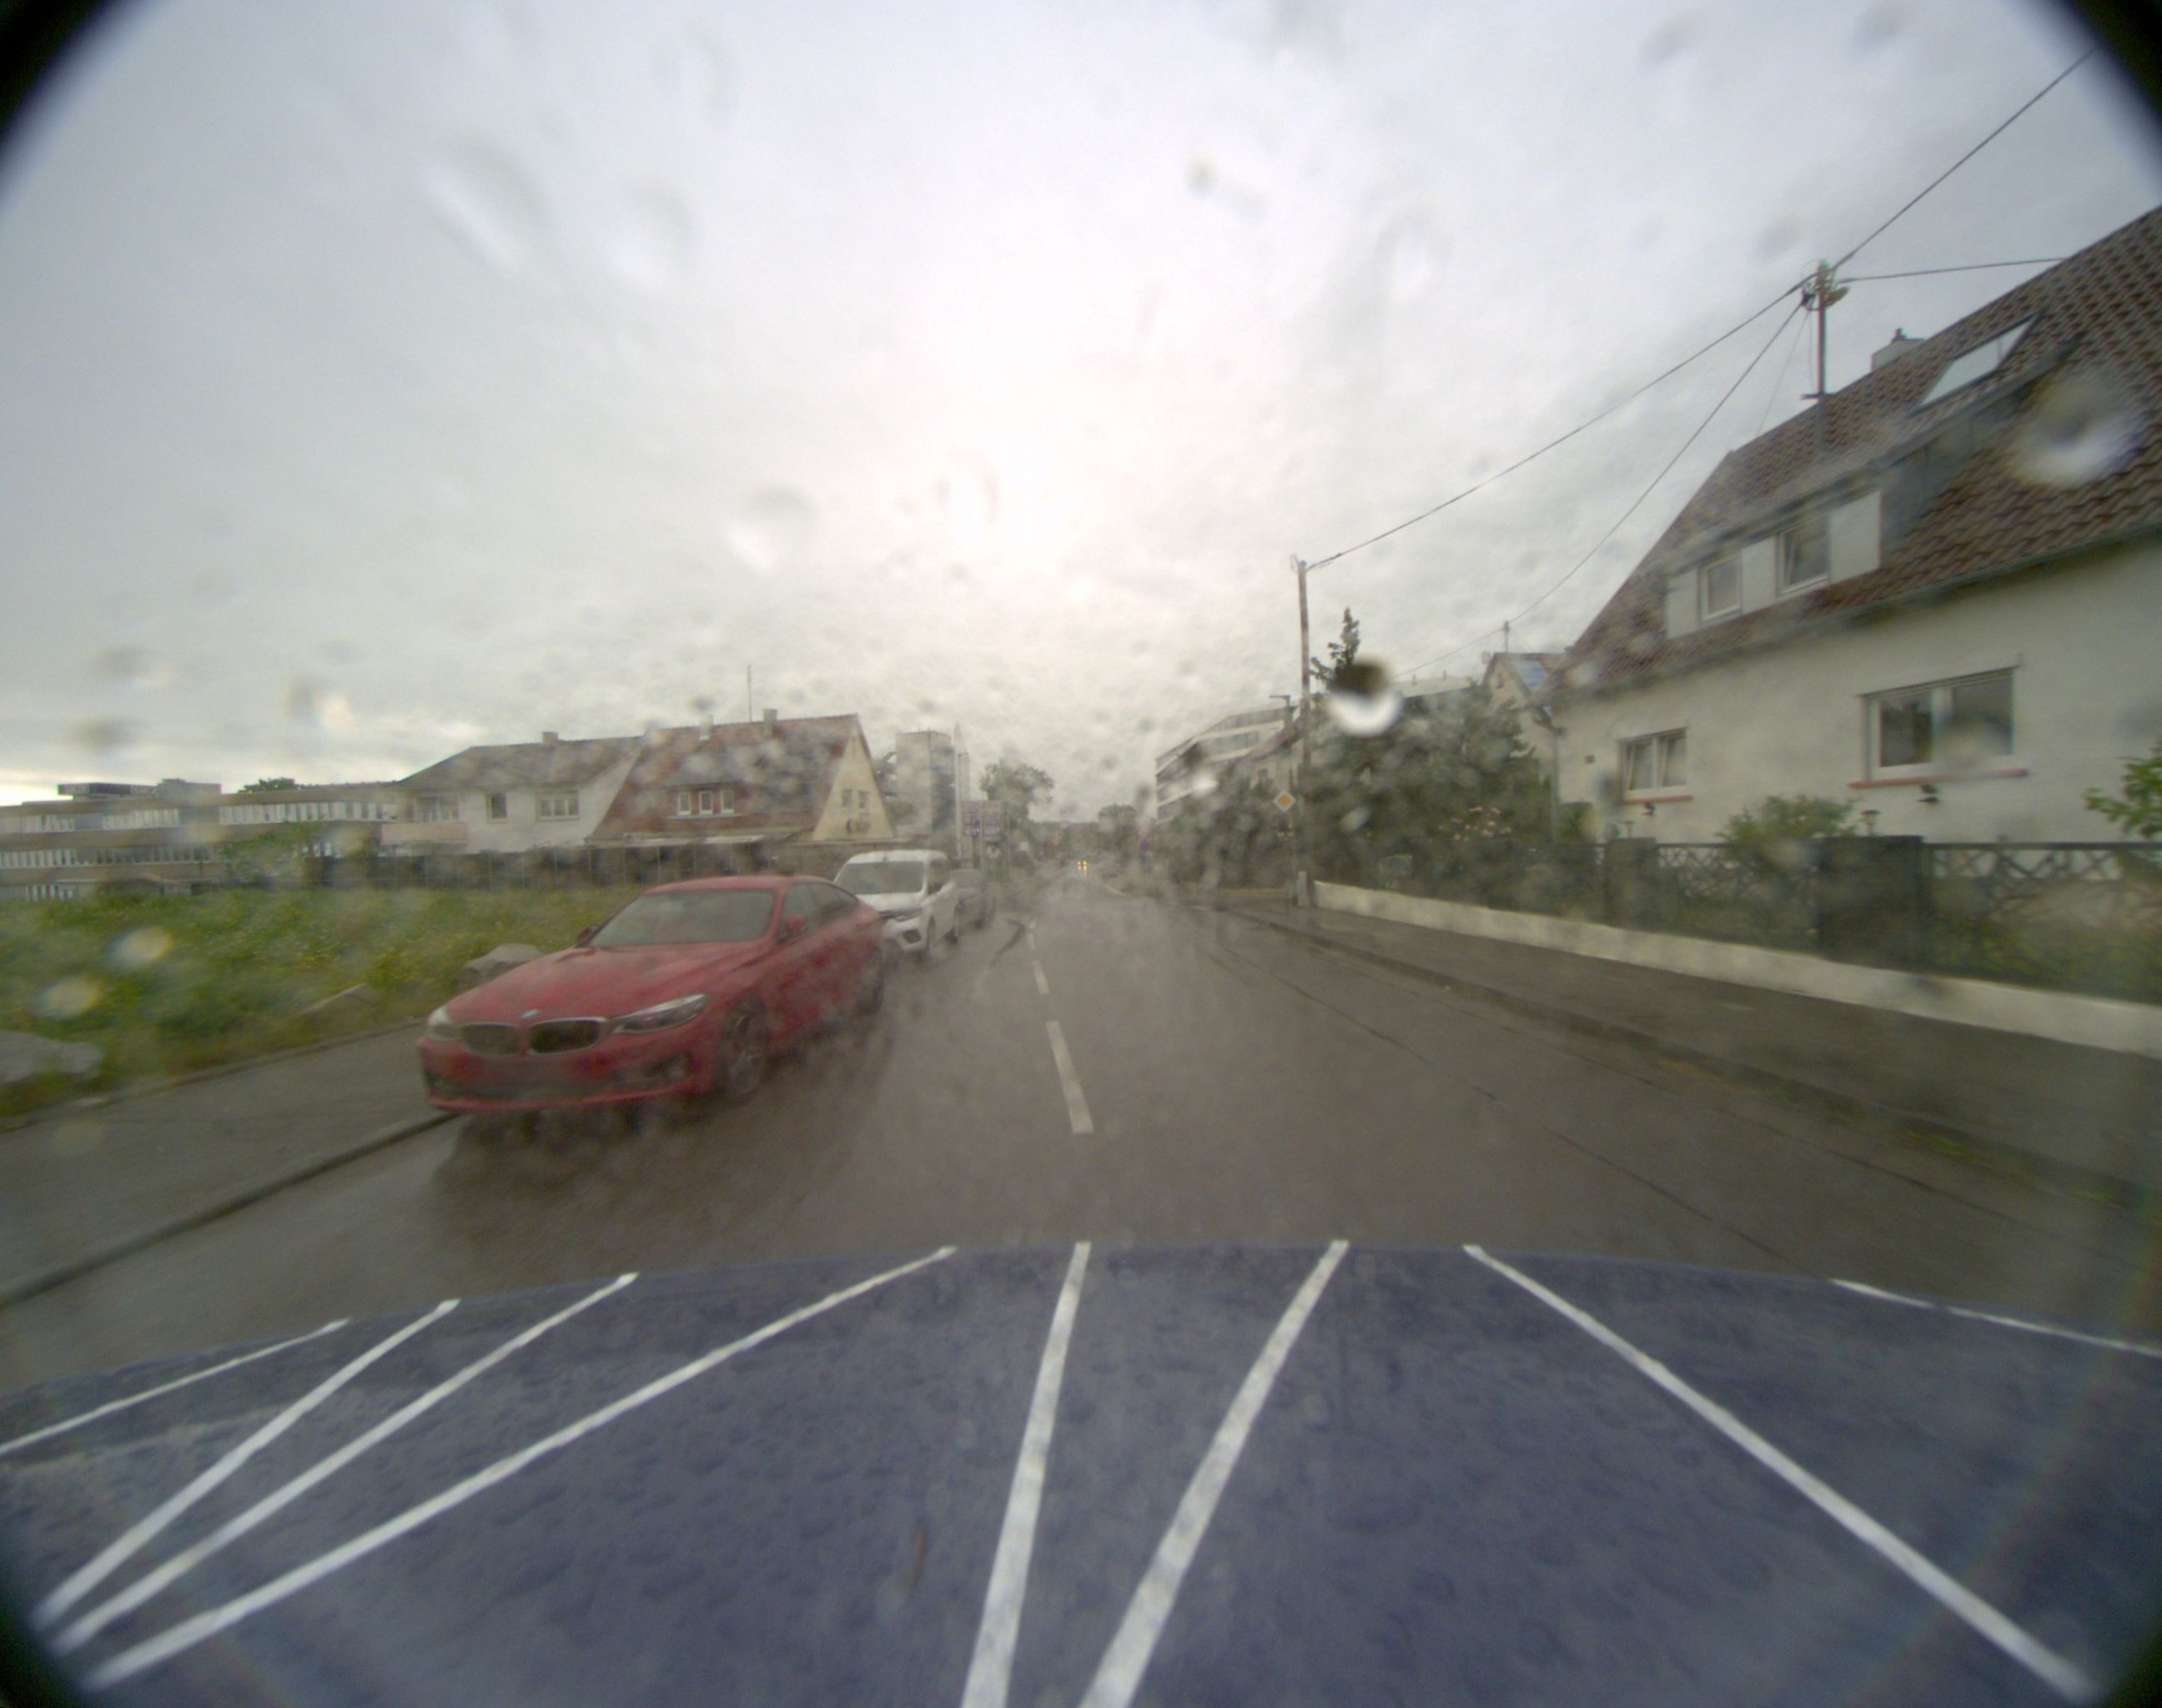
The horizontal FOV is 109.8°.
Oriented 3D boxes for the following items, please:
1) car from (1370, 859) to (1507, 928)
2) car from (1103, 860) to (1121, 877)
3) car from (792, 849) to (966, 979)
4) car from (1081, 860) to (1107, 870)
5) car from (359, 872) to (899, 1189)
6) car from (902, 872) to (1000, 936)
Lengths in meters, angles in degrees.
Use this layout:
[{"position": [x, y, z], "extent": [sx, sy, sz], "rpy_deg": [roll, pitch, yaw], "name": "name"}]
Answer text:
[{"position": [8.809, 0.903, 19.045], "extent": [1.783, 1.458, 3.456], "rpy_deg": [-2, 1, 0], "name": "car"}, {"position": [3.458, 1.608, 85.066], "extent": [1.841, 1.696, 4.324], "rpy_deg": [-2, 0, 2], "name": "car"}, {"position": [-3.265, 0.876, 13.254], "extent": [1.773, 1.814, 4.574], "rpy_deg": [-2, 0, -1], "name": "car"}, {"position": [2.224, 1.873, 130.786], "extent": [4.166, 1.411, 2.001], "rpy_deg": [-3, 0, 5], "name": "car"}, {"position": [-3.006, 1.016, 6.434], "extent": [1.646, 1.565, 4.644], "rpy_deg": [-2, 0, 1], "name": "car"}, {"position": [-3.237, 1.198, 19.723], "extent": [1.773, 1.328, 4.320], "rpy_deg": [-2, 0, -1], "name": "car"}]
